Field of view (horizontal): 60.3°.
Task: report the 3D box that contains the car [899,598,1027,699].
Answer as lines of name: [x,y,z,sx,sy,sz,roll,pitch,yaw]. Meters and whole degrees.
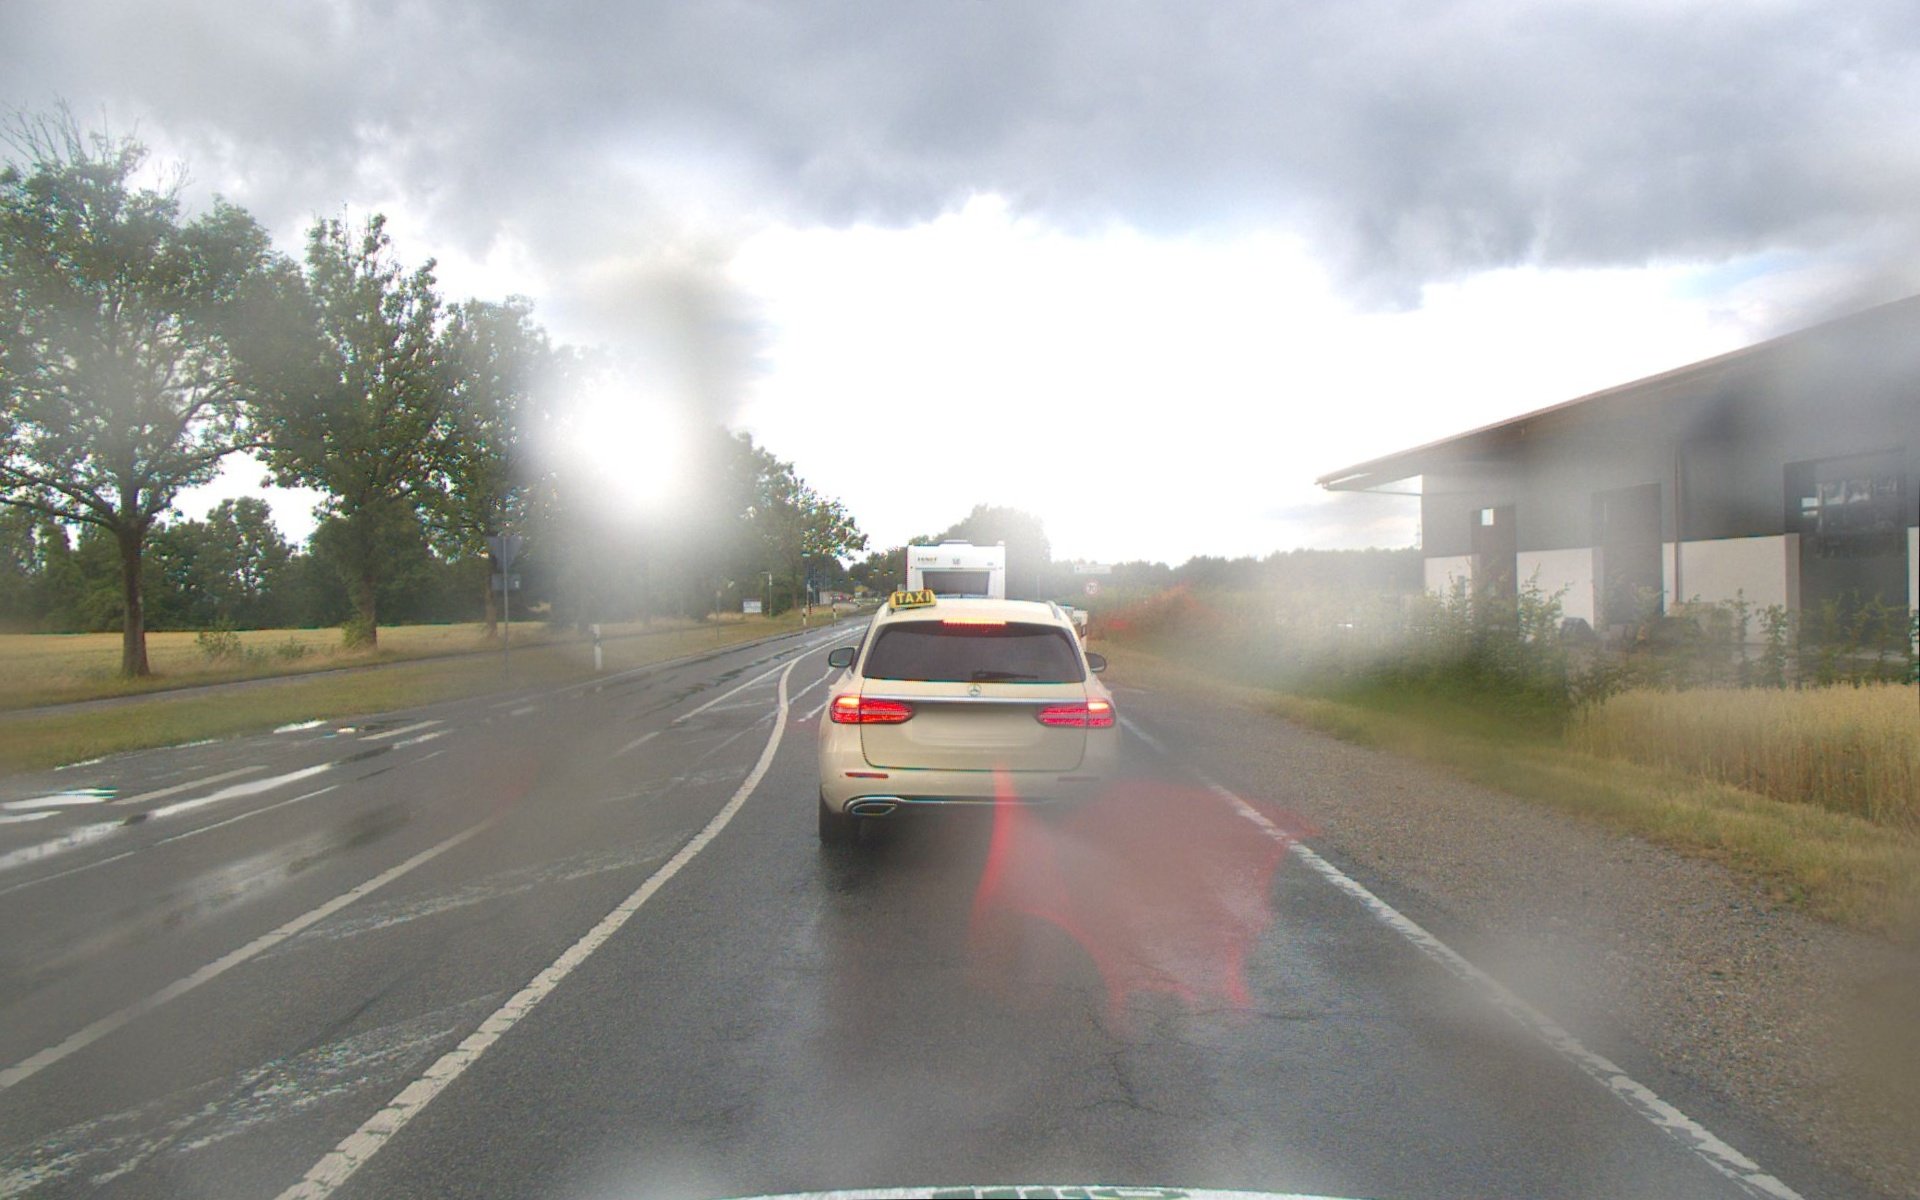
car: [0.038,0.702,25.888,1.856,1.454,3.927,0,0,0]

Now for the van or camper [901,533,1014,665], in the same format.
van or camper: [-0.045,-0.031,40.019,2.446,2.880,5.934,-2,0,0]

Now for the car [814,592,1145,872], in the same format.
car: [0.098,0.698,10.851,1.760,1.490,4.030,0,0,0]
